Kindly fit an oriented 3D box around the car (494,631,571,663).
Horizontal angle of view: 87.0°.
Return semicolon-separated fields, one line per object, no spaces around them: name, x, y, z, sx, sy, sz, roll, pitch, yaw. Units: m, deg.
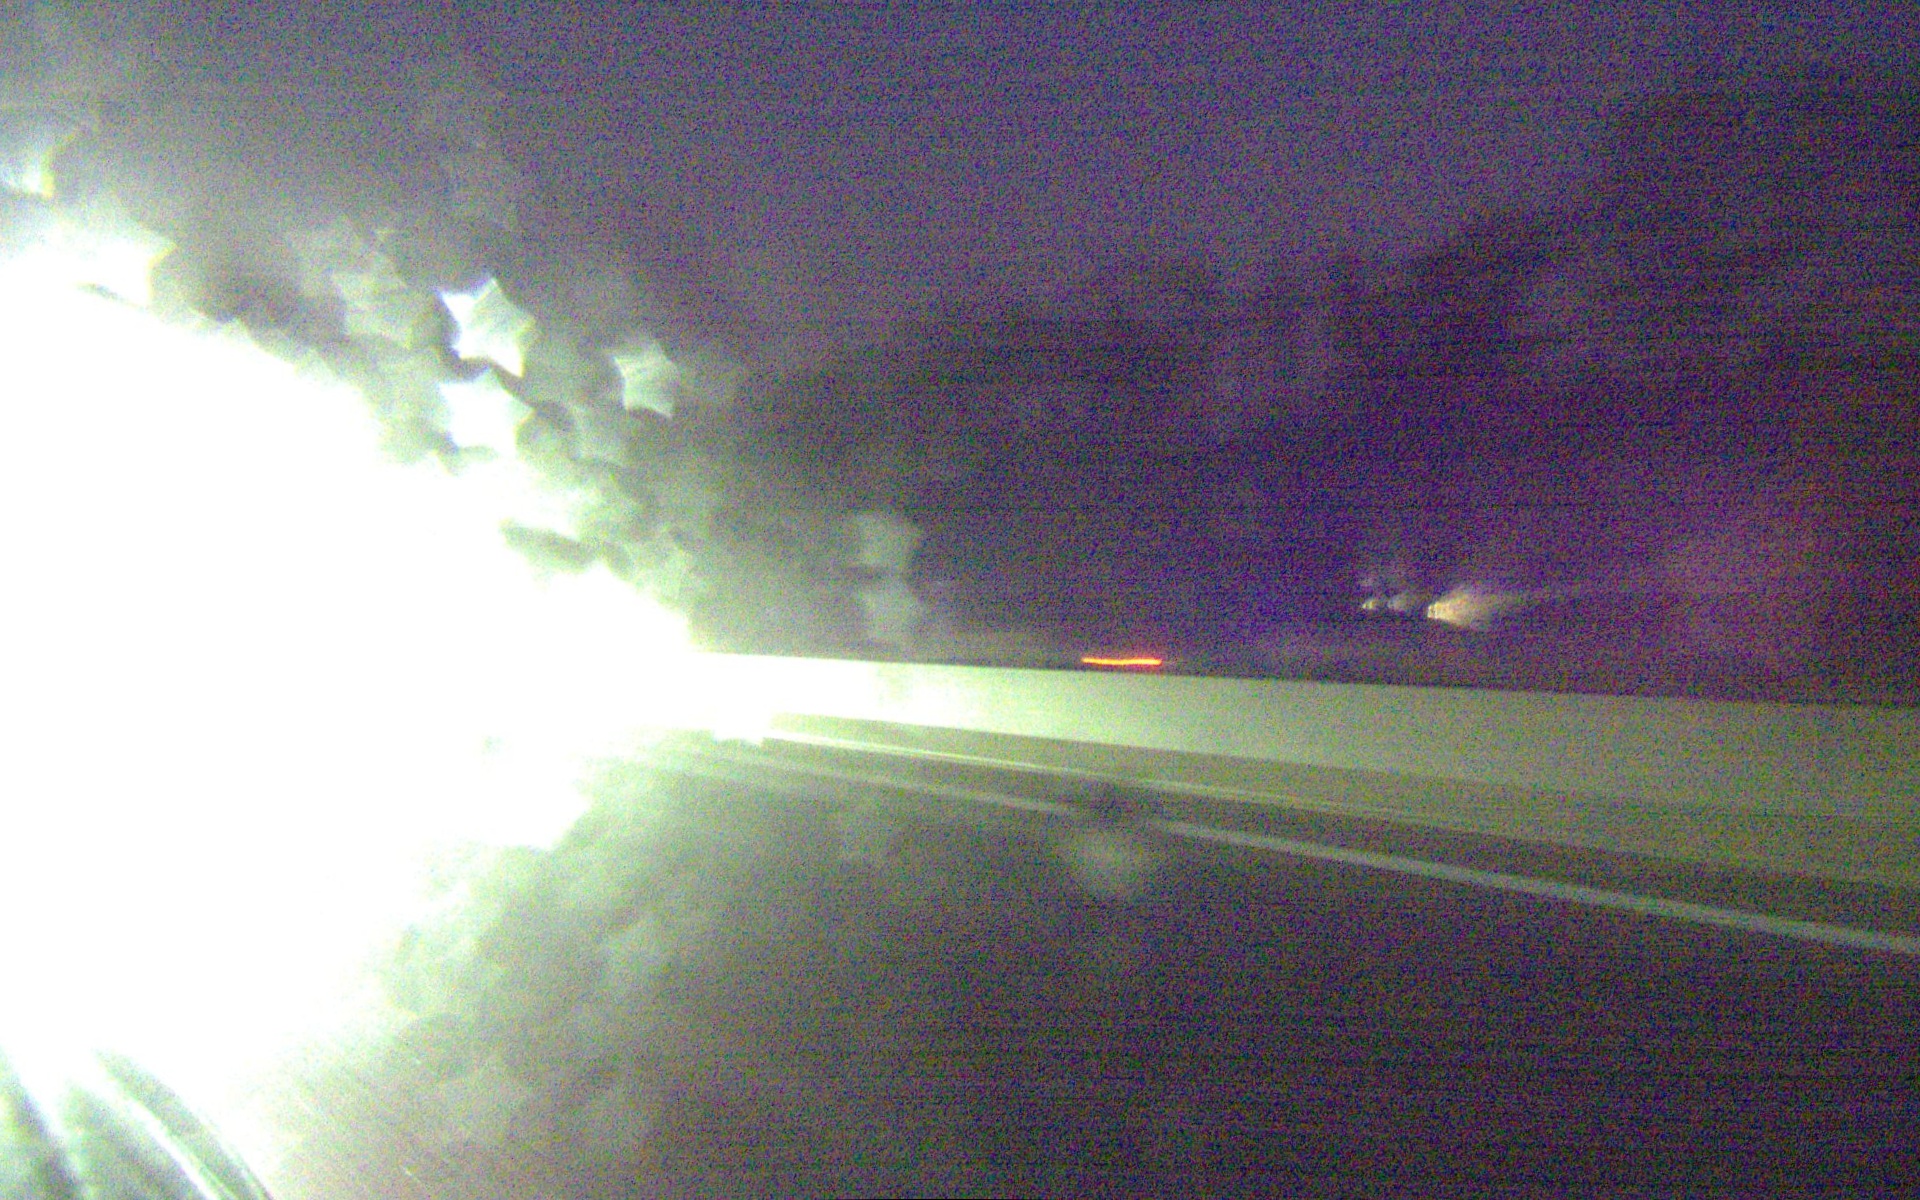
car;-22.422;2.424;52.980;4.406;1.497;1.973;-1;0;41

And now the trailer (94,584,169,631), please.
trailer;-89.447;0.869;109.061;13.956;4.659;4.122;0;-3;43

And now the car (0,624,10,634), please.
car;-156.966;4.748;165.590;3.997;1.674;1.815;0;-1;40

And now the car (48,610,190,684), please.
car;-20.312;1.102;24.405;2.278;1.621;3.874;4;-3;-44

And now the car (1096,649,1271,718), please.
car;5.764;2.097;26.379;3.998;1.497;1.973;-1;0;41
